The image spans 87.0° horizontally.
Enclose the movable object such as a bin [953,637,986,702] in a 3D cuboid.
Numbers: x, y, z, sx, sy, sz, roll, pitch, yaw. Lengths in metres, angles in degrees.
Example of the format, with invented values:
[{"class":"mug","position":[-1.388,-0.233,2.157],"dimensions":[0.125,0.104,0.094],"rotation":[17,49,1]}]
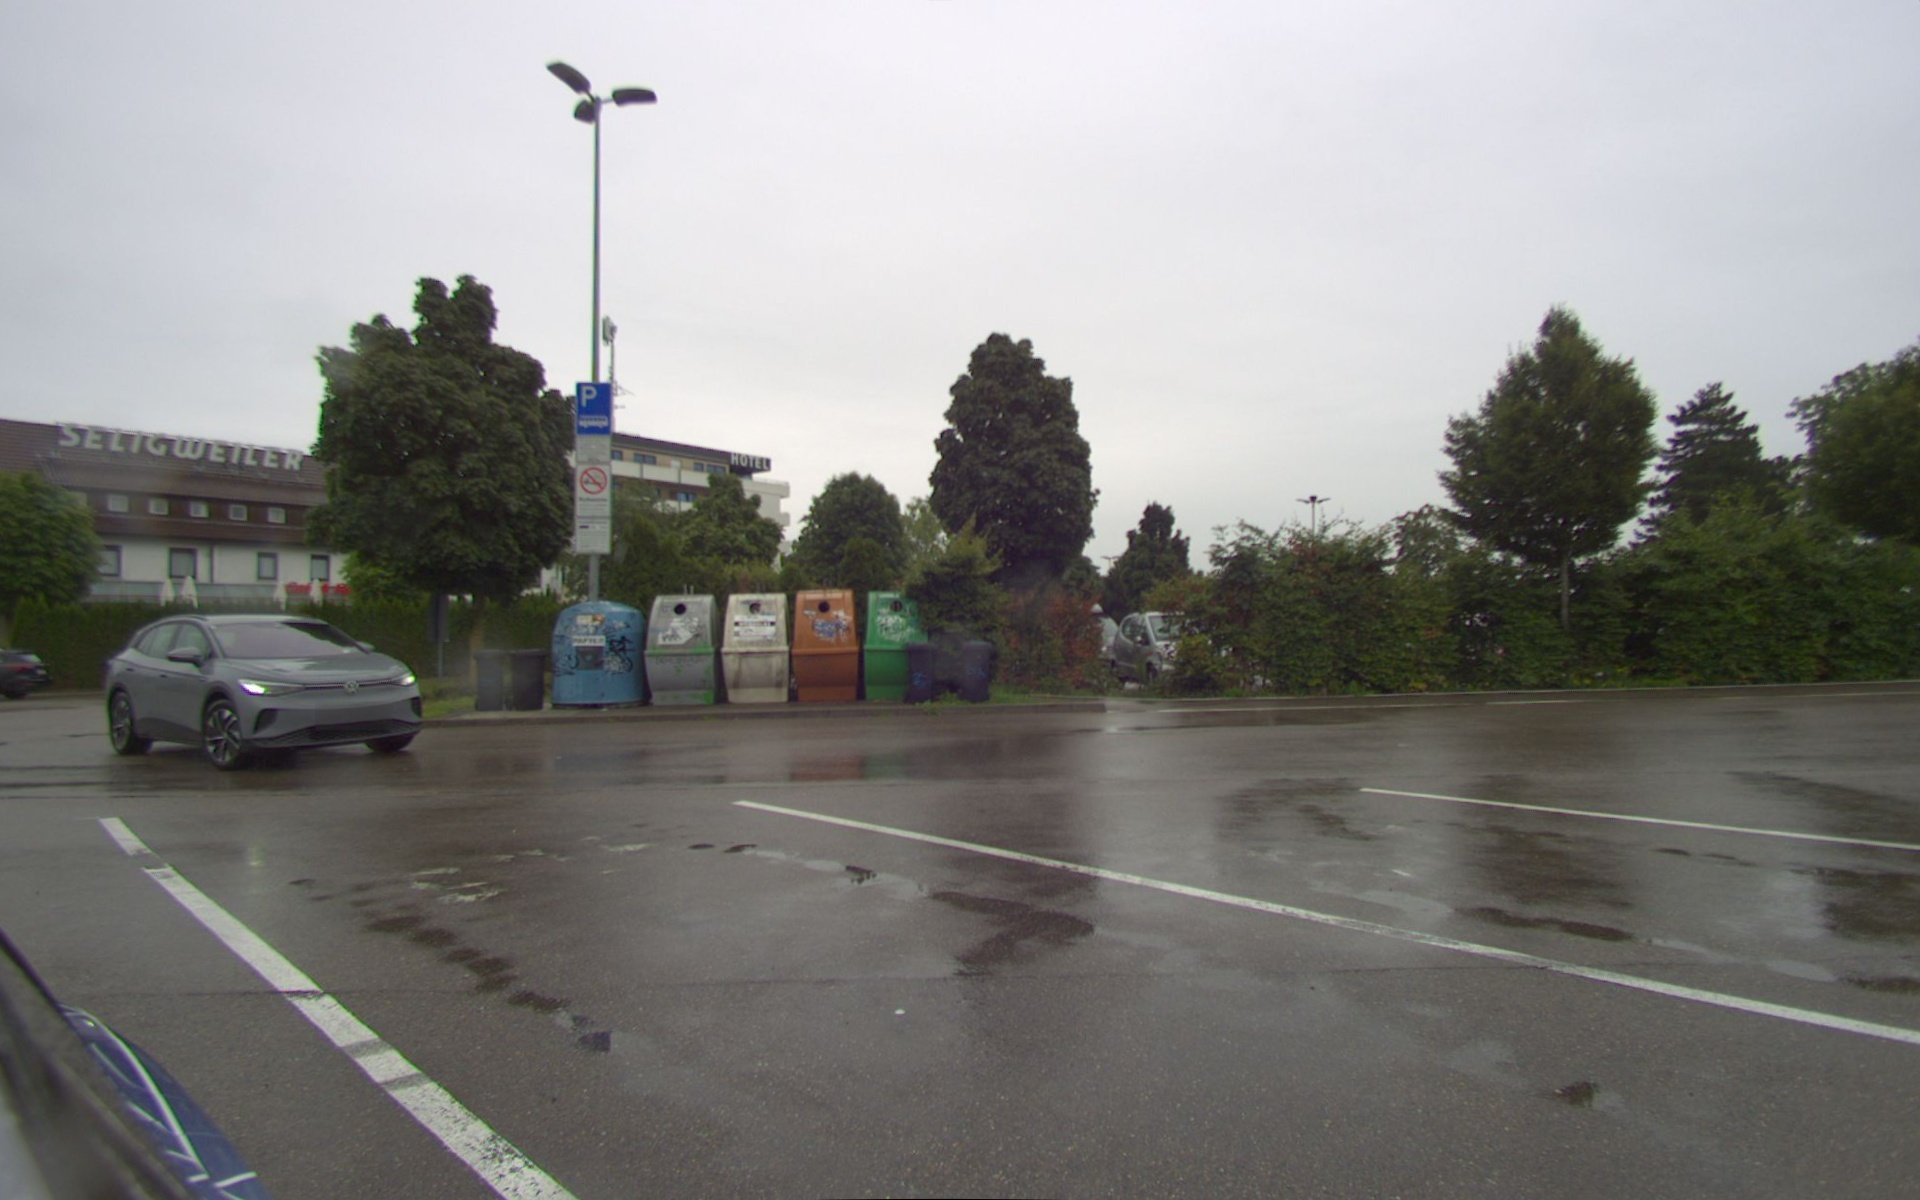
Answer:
[{"class":"movable object such as a bin","position":[0.136,1.004,14.756],"dimensions":[0.432,0.923,0.509],"rotation":[-2,-2,-1]}]

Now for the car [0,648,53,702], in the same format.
[{"class":"car","position":[-27.890,2.085,27.624],"dimensions":[4.254,1.460,1.875],"rotation":[0,-3,-24]}]

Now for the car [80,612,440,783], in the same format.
[{"class":"car","position":[-8.151,0.989,11.660],"dimensions":[4.489,1.586,1.977],"rotation":[-2,-1,35]}]

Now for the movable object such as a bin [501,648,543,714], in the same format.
[{"class":"movable object such as a bin","position":[-6.589,1.206,15.222],"dimensions":[0.450,0.956,0.400],"rotation":[-2,-1,41]}]

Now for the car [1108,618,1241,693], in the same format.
[{"class":"car","position":[4.078,1.023,19.830],"dimensions":[1.782,1.278,3.647],"rotation":[-1,-1,0]}]

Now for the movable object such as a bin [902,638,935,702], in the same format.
[{"class":"movable object such as a bin","position":[-0.614,1.033,15.023],"dimensions":[0.432,0.930,0.508],"rotation":[-2,-2,1]}]

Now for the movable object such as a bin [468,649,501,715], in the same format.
[{"class":"movable object such as a bin","position":[-7.160,1.222,15.237],"dimensions":[0.427,0.956,0.475],"rotation":[-1,-1,-25]}]
